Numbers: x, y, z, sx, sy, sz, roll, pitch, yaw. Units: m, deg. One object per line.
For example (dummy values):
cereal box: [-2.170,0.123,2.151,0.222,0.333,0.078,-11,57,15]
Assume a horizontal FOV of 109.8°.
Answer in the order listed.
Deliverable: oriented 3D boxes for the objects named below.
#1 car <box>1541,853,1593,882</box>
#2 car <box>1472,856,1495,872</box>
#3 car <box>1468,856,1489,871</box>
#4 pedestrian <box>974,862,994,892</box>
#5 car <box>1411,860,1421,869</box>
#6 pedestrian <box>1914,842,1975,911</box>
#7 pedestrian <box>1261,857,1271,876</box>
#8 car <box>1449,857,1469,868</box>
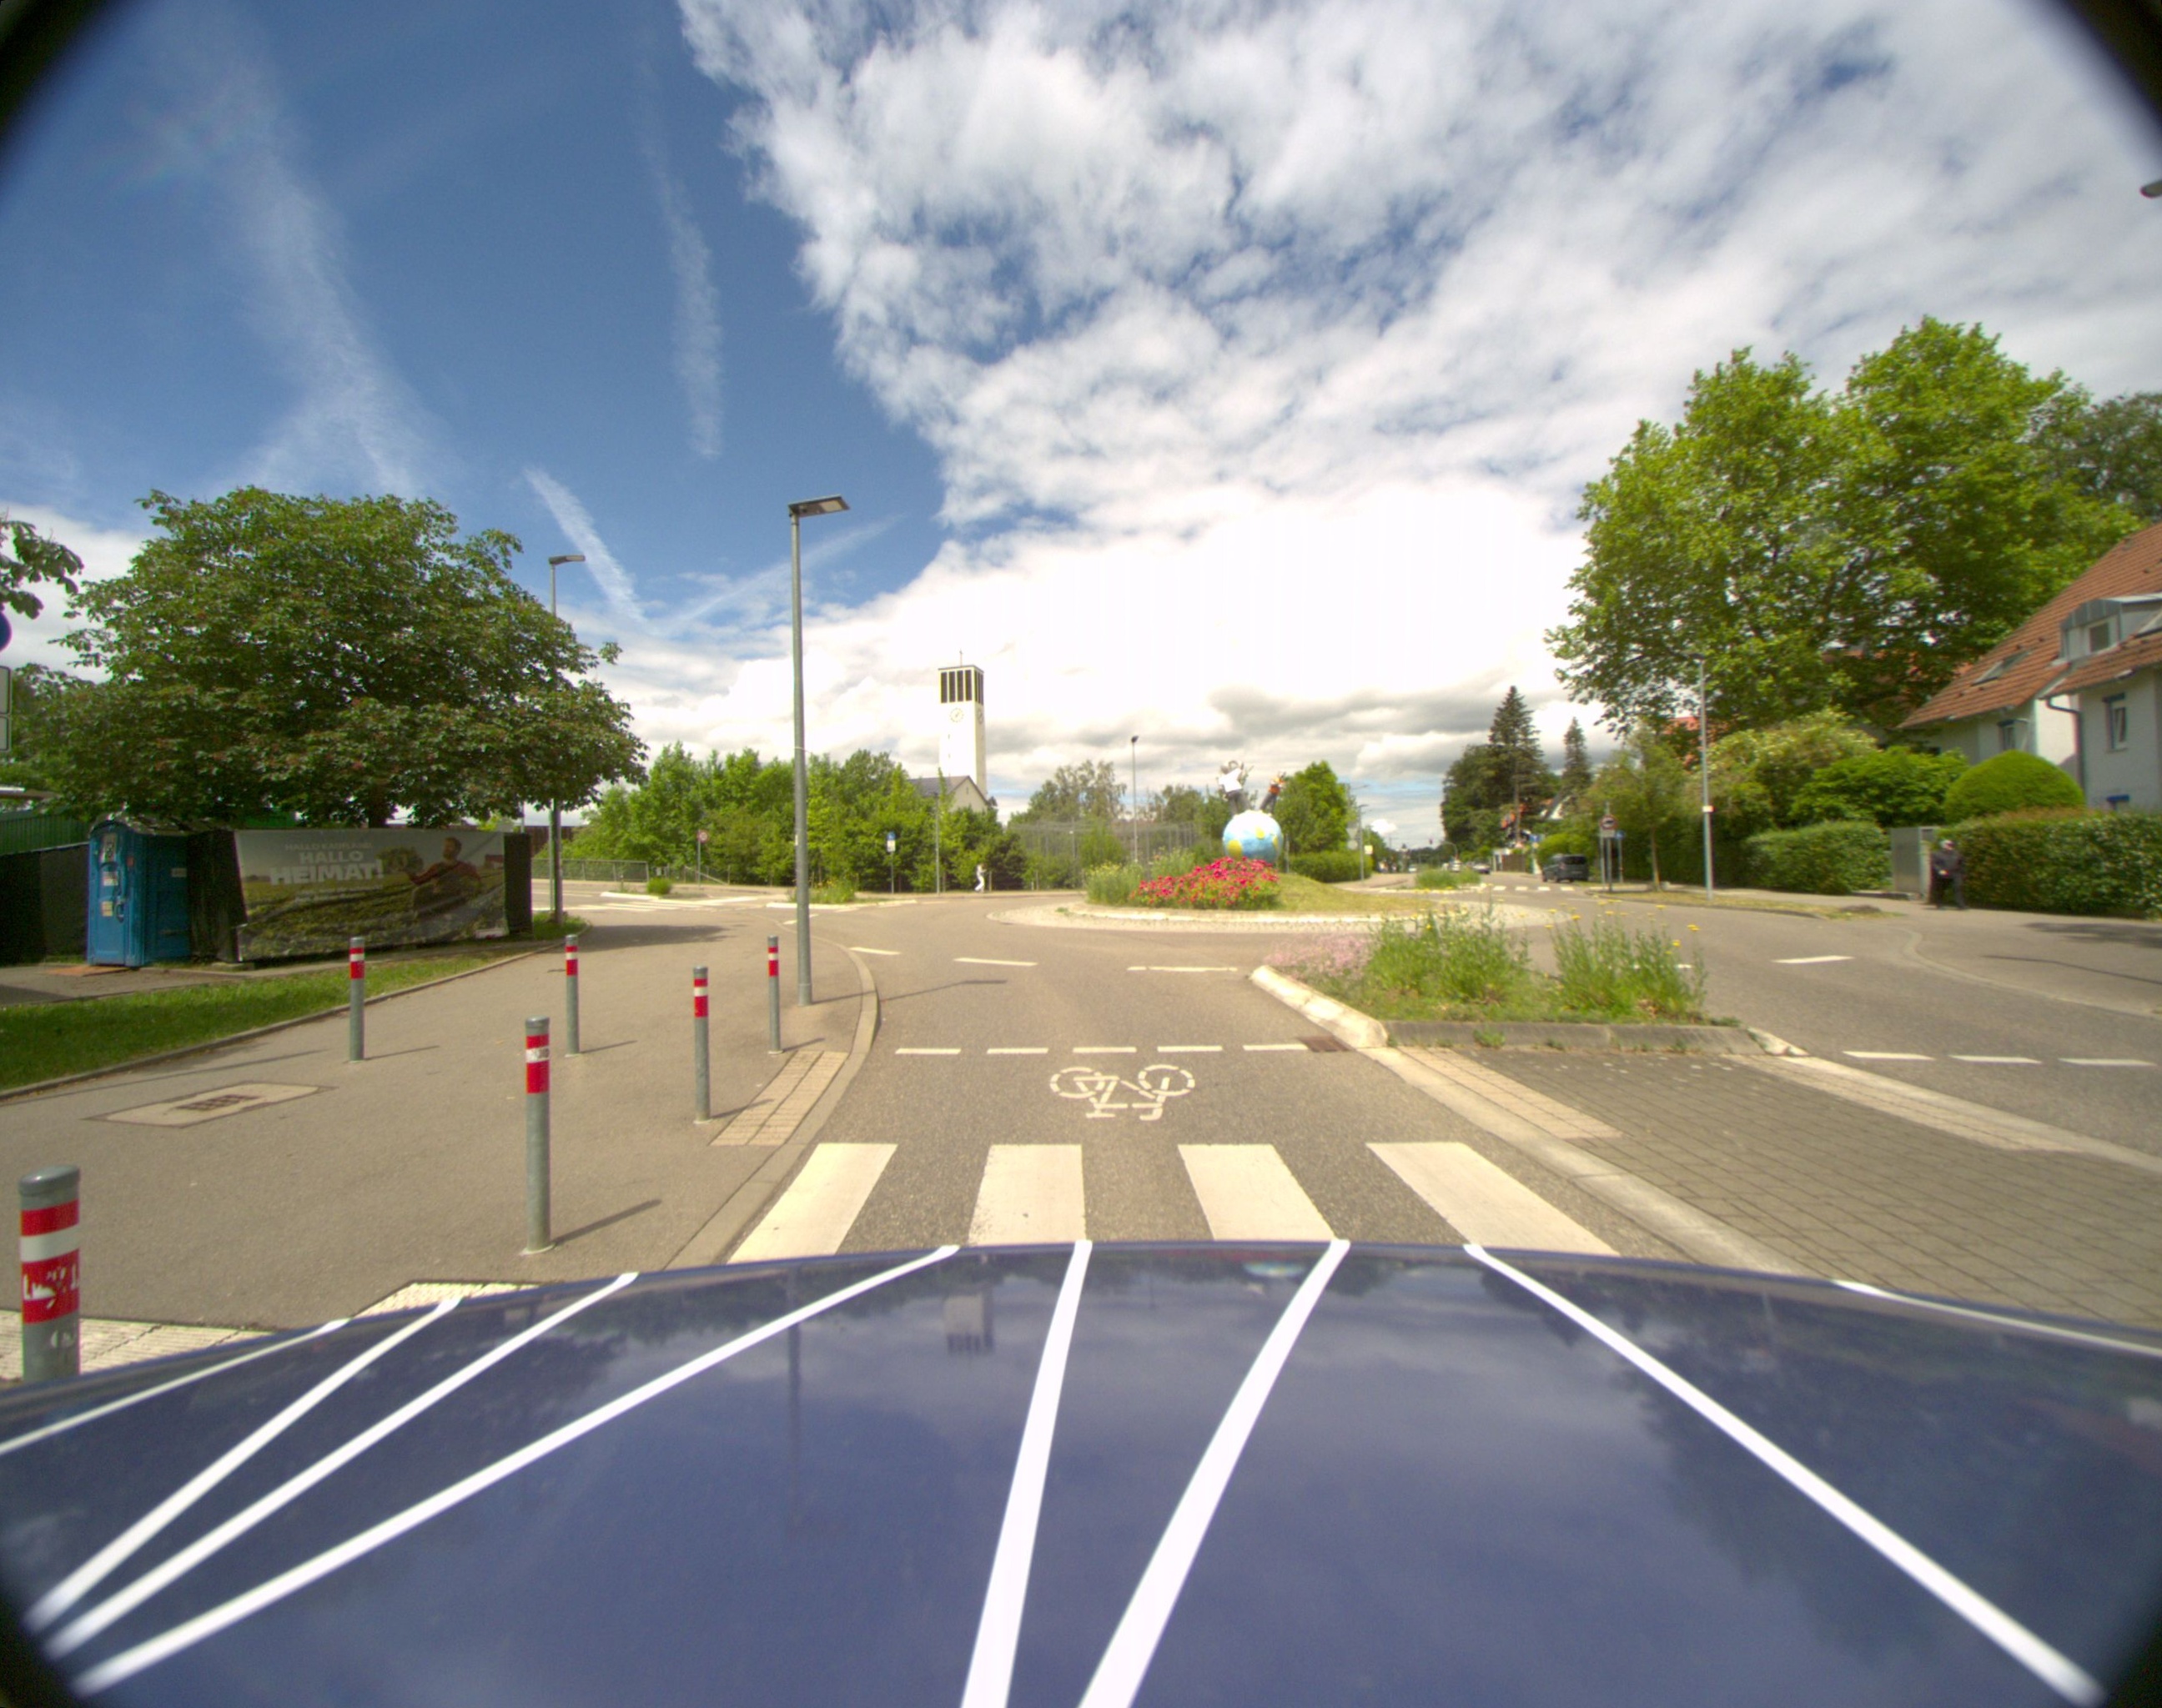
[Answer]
car: [29.816,0.798,46.726,1.678,1.652,4.005,-1,0,18]
car: [44.054,1.087,83.206,1.859,1.568,4.006,-2,0,23]
car: [46.163,1.061,88.403,1.784,1.568,4.006,-2,0,23]
pedestrian: [-4.909,1.166,38.544,0.457,1.524,0.965,-2,-1,29]
car: [70.991,2.206,161.139,1.995,1.696,4.007,0,0,23]
pedestrian: [21.621,0.550,19.037,0.744,1.681,0.695,-2,0,24]
pedestrian: [15.474,1.025,63.539,0.763,1.548,0.602,-1,0,15]
car: [55.781,1.239,112.087,1.996,1.696,4.005,0,0,18]
